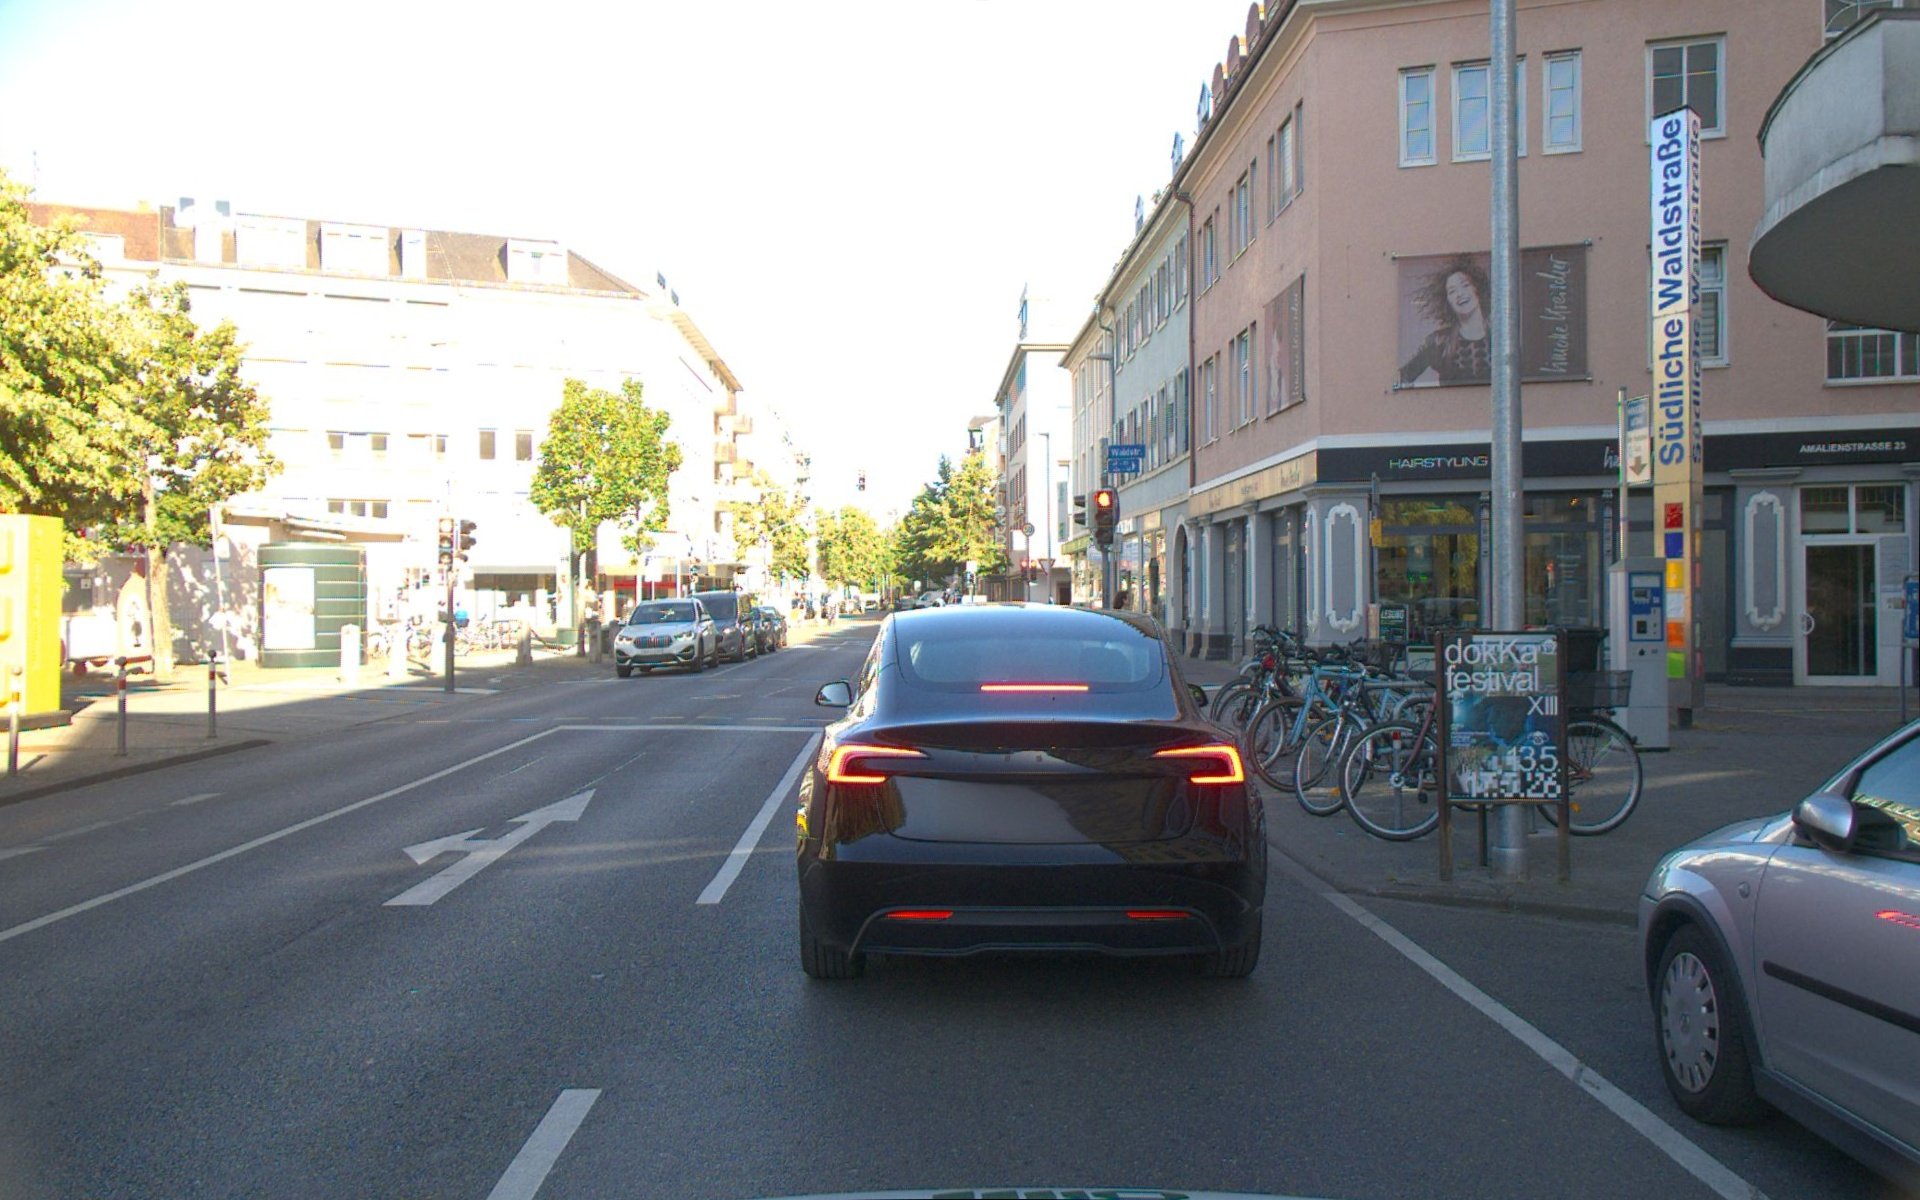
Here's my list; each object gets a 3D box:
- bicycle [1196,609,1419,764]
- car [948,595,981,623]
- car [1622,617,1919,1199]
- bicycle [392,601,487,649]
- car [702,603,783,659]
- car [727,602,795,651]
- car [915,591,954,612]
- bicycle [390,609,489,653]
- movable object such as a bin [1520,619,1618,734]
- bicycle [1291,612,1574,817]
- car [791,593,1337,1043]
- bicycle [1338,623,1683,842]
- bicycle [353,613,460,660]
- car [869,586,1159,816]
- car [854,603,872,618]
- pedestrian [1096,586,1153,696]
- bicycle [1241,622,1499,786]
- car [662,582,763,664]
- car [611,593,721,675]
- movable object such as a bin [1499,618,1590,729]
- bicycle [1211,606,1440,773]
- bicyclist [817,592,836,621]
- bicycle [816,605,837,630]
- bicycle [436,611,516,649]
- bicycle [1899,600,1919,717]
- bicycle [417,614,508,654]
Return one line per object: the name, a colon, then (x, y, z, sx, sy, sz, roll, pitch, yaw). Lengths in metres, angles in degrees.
bicycle: (3.058, 0.750, 14.706, 1.822, 1.280, 0.833, -2, 0, 5)
car: (0.274, 0.528, 100.736, 1.953, 1.657, 3.999, 0, 0, -1)
car: (2.936, 0.780, 3.506, 1.580, 1.406, 3.642, 1, 0, 0)
bicycle: (-14.707, 0.698, 46.800, 2.429, 1.347, 0.921, 0, 0, -6)
car: (-6.417, 0.885, 49.313, 1.954, 1.434, 4.671, -4, 0, -3)
car: (-6.799, 0.872, 56.899, 1.954, 1.461, 4.671, -4, 0, -3)
car: (-2.565, 0.155, 167.505, 3.907, 2.049, 1.999, 0, 0, -2)
bicycle: (-14.098, 0.843, 44.877, 2.412, 1.176, 0.842, 0, 0, -2)
movable object such as a bin: (6.049, 0.750, 16.454, 0.737, 1.111, 0.627, 1, 0, 1)
bicycle: (3.144, 0.751, 11.147, 1.686, 1.290, 0.791, -2, 0, 5)
car: (0.319, 0.726, 7.486, 1.810, 1.480, 3.999, 0, 0, -1)
bicycle: (3.291, 0.786, 10.017, 1.846, 1.214, 0.692, -2, 1, 5)
bicycle: (-14.189, 0.923, 42.453, 2.455, 1.176, 0.842, 0, 0, -2)
car: (0.293, 0.670, 13.195, 1.953, 1.538, 4.173, 0, 0, -2)
car: (-10.979, 1.207, 186.882, 1.954, 1.666, 3.997, 0, 0, -4)
pedestrian: (2.411, 0.593, 24.302, 0.732, 1.579, 0.698, 0, 0, -4)
bicycle: (3.061, 0.773, 12.497, 1.760, 1.144, 0.782, -2, 0, 5)
car: (-6.295, 0.534, 42.492, 1.797, 1.877, 4.674, -4, 0, 0)
car: (-6.377, 0.689, 36.257, 1.771, 1.582, 4.307, -4, 0, -3)
movable object such as a bin: (6.028, 0.752, 17.091, 0.718, 1.111, 0.627, 1, 0, 1)
bicycle: (2.993, 0.723, 13.675, 1.709, 1.289, 0.781, -2, 0, 2)
bicyclist: (-7.709, 0.371, 95.484, 1.104, 1.657, 0.964, 0, 0, -4)
bicycle: (-7.693, 0.998, 95.390, 1.089, 1.368, 3.997, 0, 0, -4)
bicycle: (-15.209, 0.942, 51.977, 2.279, 1.176, 0.841, 0, 0, -6)
bicycle: (10.283, 0.613, 17.006, 0.645, 1.220, 2.212, 0, 0, 18)
bicycle: (-14.885, 1.015, 49.554, 2.485, 1.176, 0.841, 0, 0, -6)
